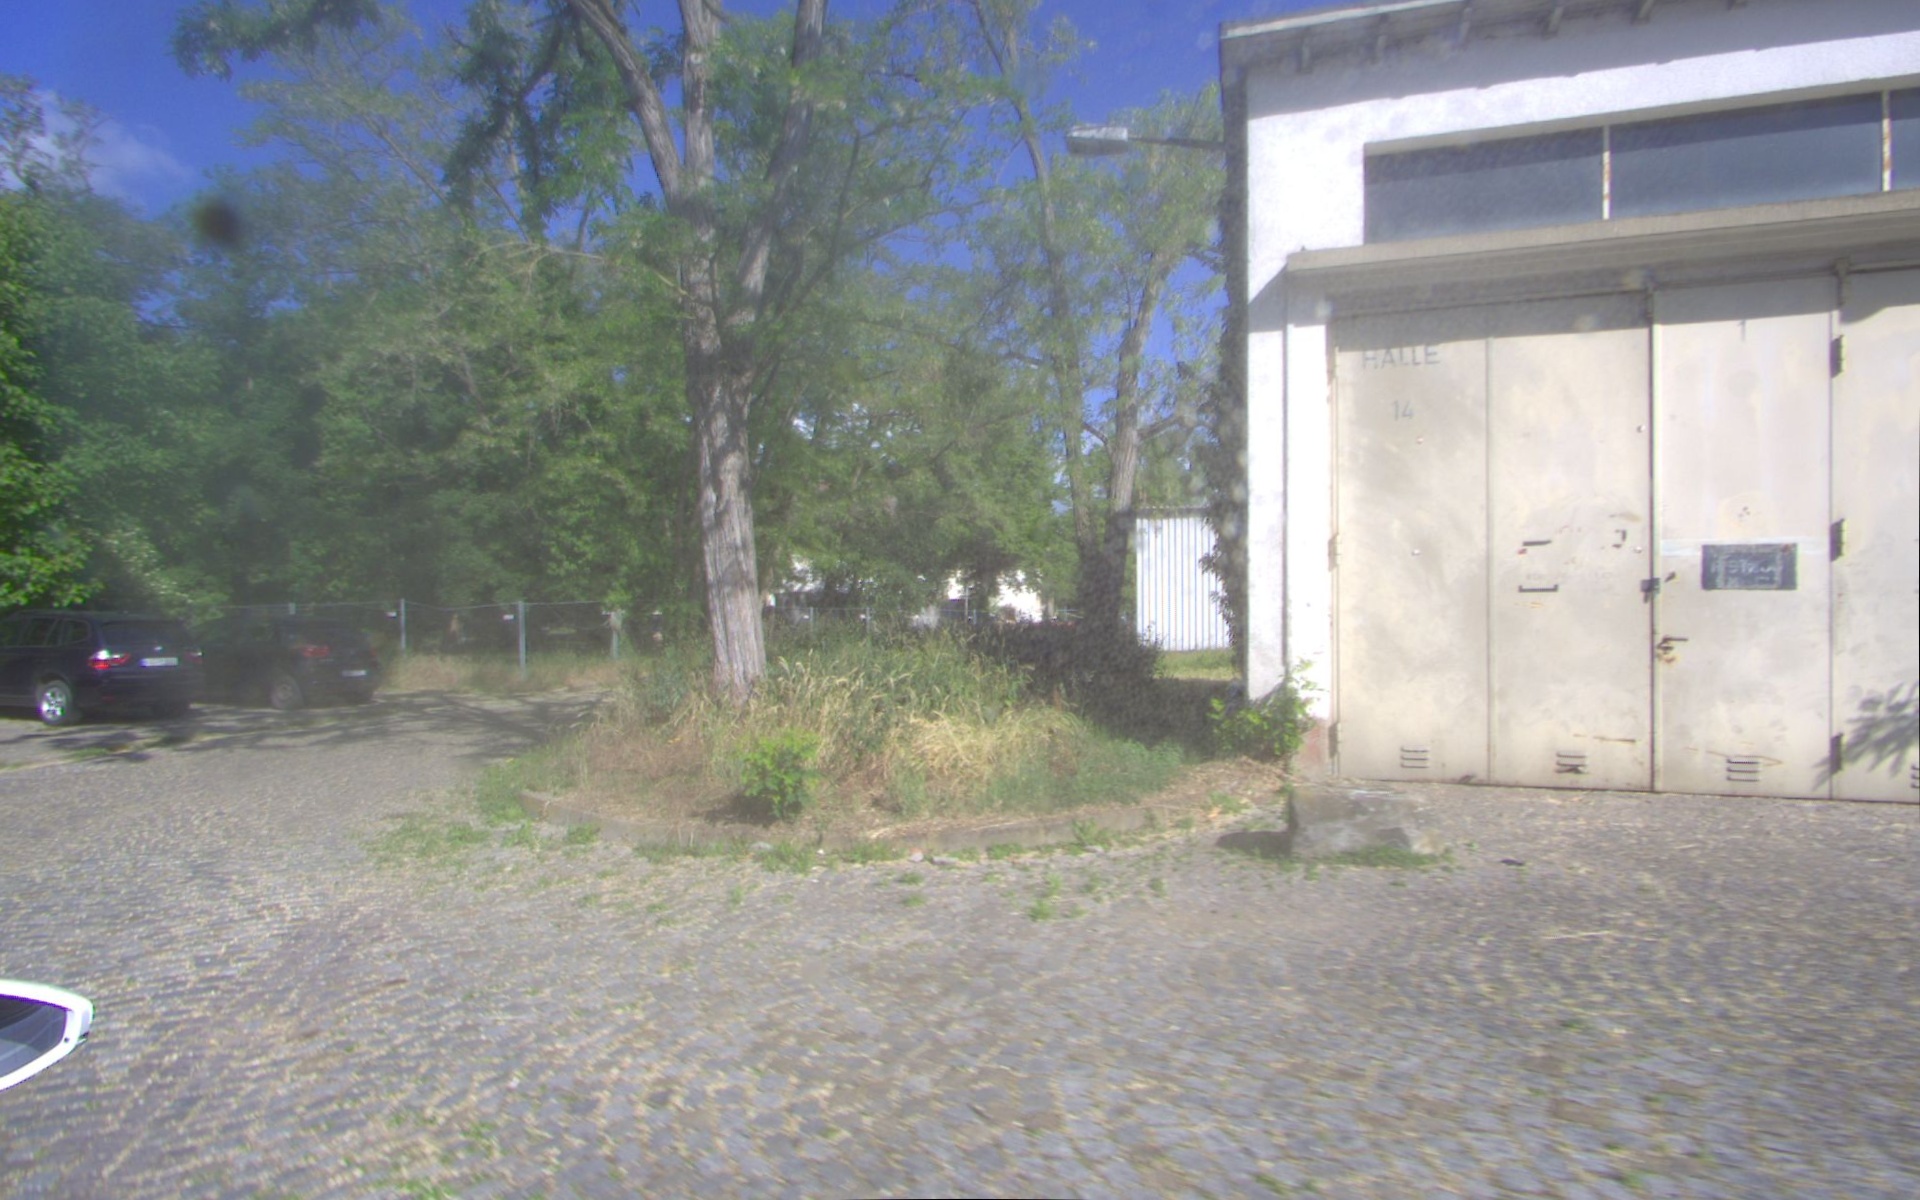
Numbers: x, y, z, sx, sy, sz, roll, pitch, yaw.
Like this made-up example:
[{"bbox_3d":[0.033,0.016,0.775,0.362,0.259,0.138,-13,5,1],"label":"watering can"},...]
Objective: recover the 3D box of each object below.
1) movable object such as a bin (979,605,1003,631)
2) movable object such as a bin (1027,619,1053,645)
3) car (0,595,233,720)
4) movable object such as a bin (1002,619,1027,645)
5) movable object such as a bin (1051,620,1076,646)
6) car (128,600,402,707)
[{"bbox_3d":[1.781,1.014,57.211,1.068,1.456,1.054,-1,-1,19],"label":"movable object such as a bin"},{"bbox_3d":[4.512,1.819,56.516,1.268,1.444,1.031,-1,-1,15],"label":"movable object such as a bin"},{"bbox_3d":[-13.956,0.828,15.730,4.194,1.652,1.879,2,-1,16],"label":"car"},{"bbox_3d":[3.110,1.822,56.960,1.268,1.444,1.031,-1,-1,15],"label":"movable object such as a bin"},{"bbox_3d":[5.795,1.829,56.182,1.267,1.444,1.032,0,-1,13],"label":"movable object such as a bin"},{"bbox_3d":[-12.923,0.938,18.693,4.193,1.610,1.828,3,1,13],"label":"car"}]
